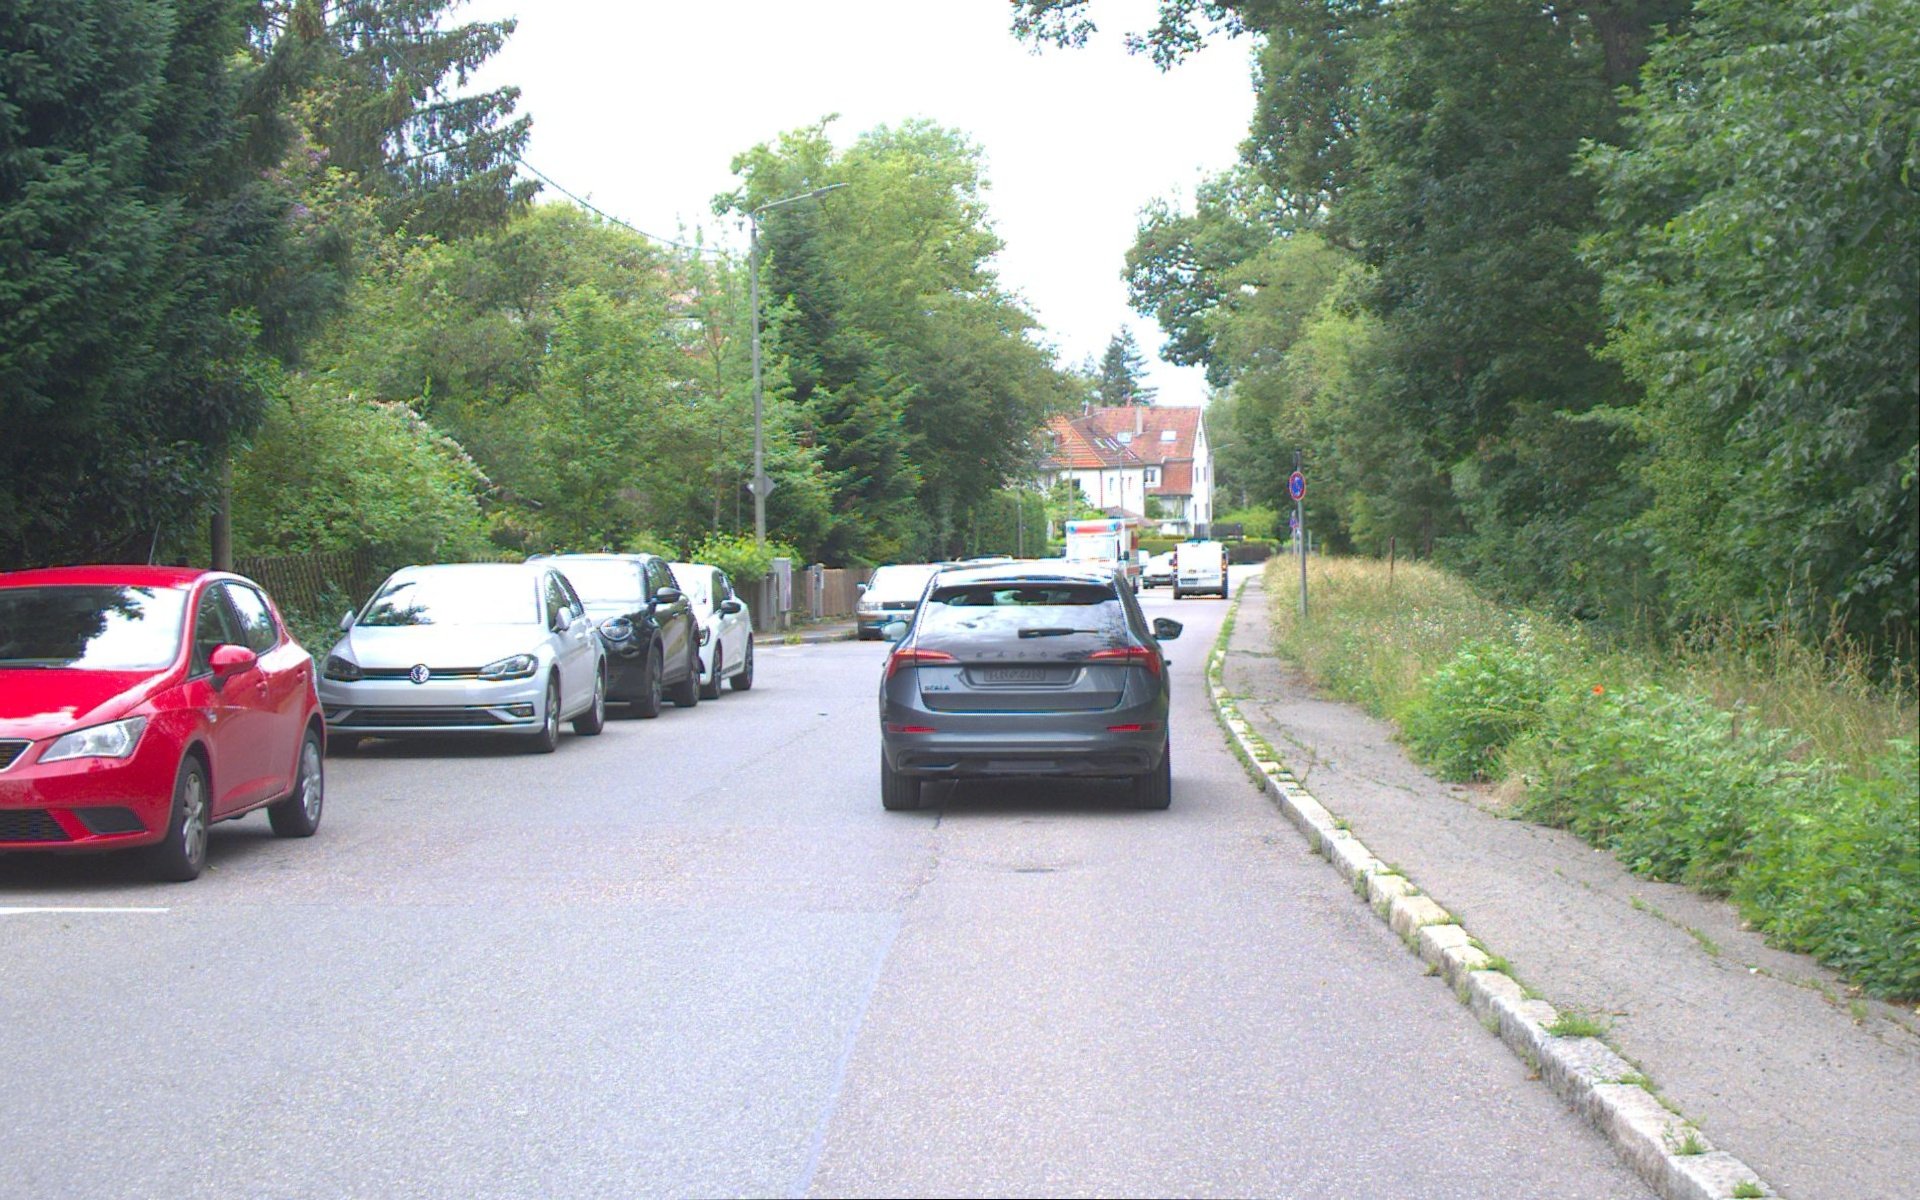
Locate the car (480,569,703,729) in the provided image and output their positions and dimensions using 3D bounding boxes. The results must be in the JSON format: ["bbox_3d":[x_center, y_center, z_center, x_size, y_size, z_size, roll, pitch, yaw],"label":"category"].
[{"bbox_3d":[-3.487,0.430,33.163,1.749,1.400,4.000,1,1,-1],"label":"car"}]

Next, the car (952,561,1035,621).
[{"bbox_3d":[0.849,-0.247,84.479,1.749,1.400,3.999,1,1,4],"label":"car"}]

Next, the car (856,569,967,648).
[{"bbox_3d":[-0.889,0.138,65.278,1.749,1.400,3.999,1,1,4],"label":"car"}]

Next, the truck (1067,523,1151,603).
[{"bbox_3d":[5.505,-1.404,125.498,2.764,2.784,9.267,0,1,4],"label":"truck"}]

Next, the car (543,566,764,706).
[{"bbox_3d":[-3.286,0.353,37.573,1.749,1.400,3.999,1,1,4],"label":"car"}]

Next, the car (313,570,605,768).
[{"bbox_3d":[-3.885,0.487,27.222,1.749,1.400,4.000,1,1,-1],"label":"car"}]

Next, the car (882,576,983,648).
[{"bbox_3d":[-0.547,0.228,71.587,1.749,1.400,3.999,1,1,4],"label":"car"}]

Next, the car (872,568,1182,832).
[{"bbox_3d":[0.355,0.548,21.520,1.734,1.442,4.181,1,1,-1],"label":"car"}]

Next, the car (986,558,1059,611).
[{"bbox_3d":[1.748,-0.439,95.163,1.749,1.400,3.999,1,1,4],"label":"car"}]

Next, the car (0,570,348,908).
[{"bbox_3d":[-4.248,0.580,16.801,1.635,1.400,4.000,1,1,2],"label":"car"}]

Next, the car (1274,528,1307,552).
[{"bbox_3d":[19.817,-3.607,206.419,1.735,1.442,4.000,1,1,2],"label":"car"}]

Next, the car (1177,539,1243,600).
[{"bbox_3d":[8.710,-1.092,120.192,2.206,2.056,6.134,0,1,3],"label":"car"}]
